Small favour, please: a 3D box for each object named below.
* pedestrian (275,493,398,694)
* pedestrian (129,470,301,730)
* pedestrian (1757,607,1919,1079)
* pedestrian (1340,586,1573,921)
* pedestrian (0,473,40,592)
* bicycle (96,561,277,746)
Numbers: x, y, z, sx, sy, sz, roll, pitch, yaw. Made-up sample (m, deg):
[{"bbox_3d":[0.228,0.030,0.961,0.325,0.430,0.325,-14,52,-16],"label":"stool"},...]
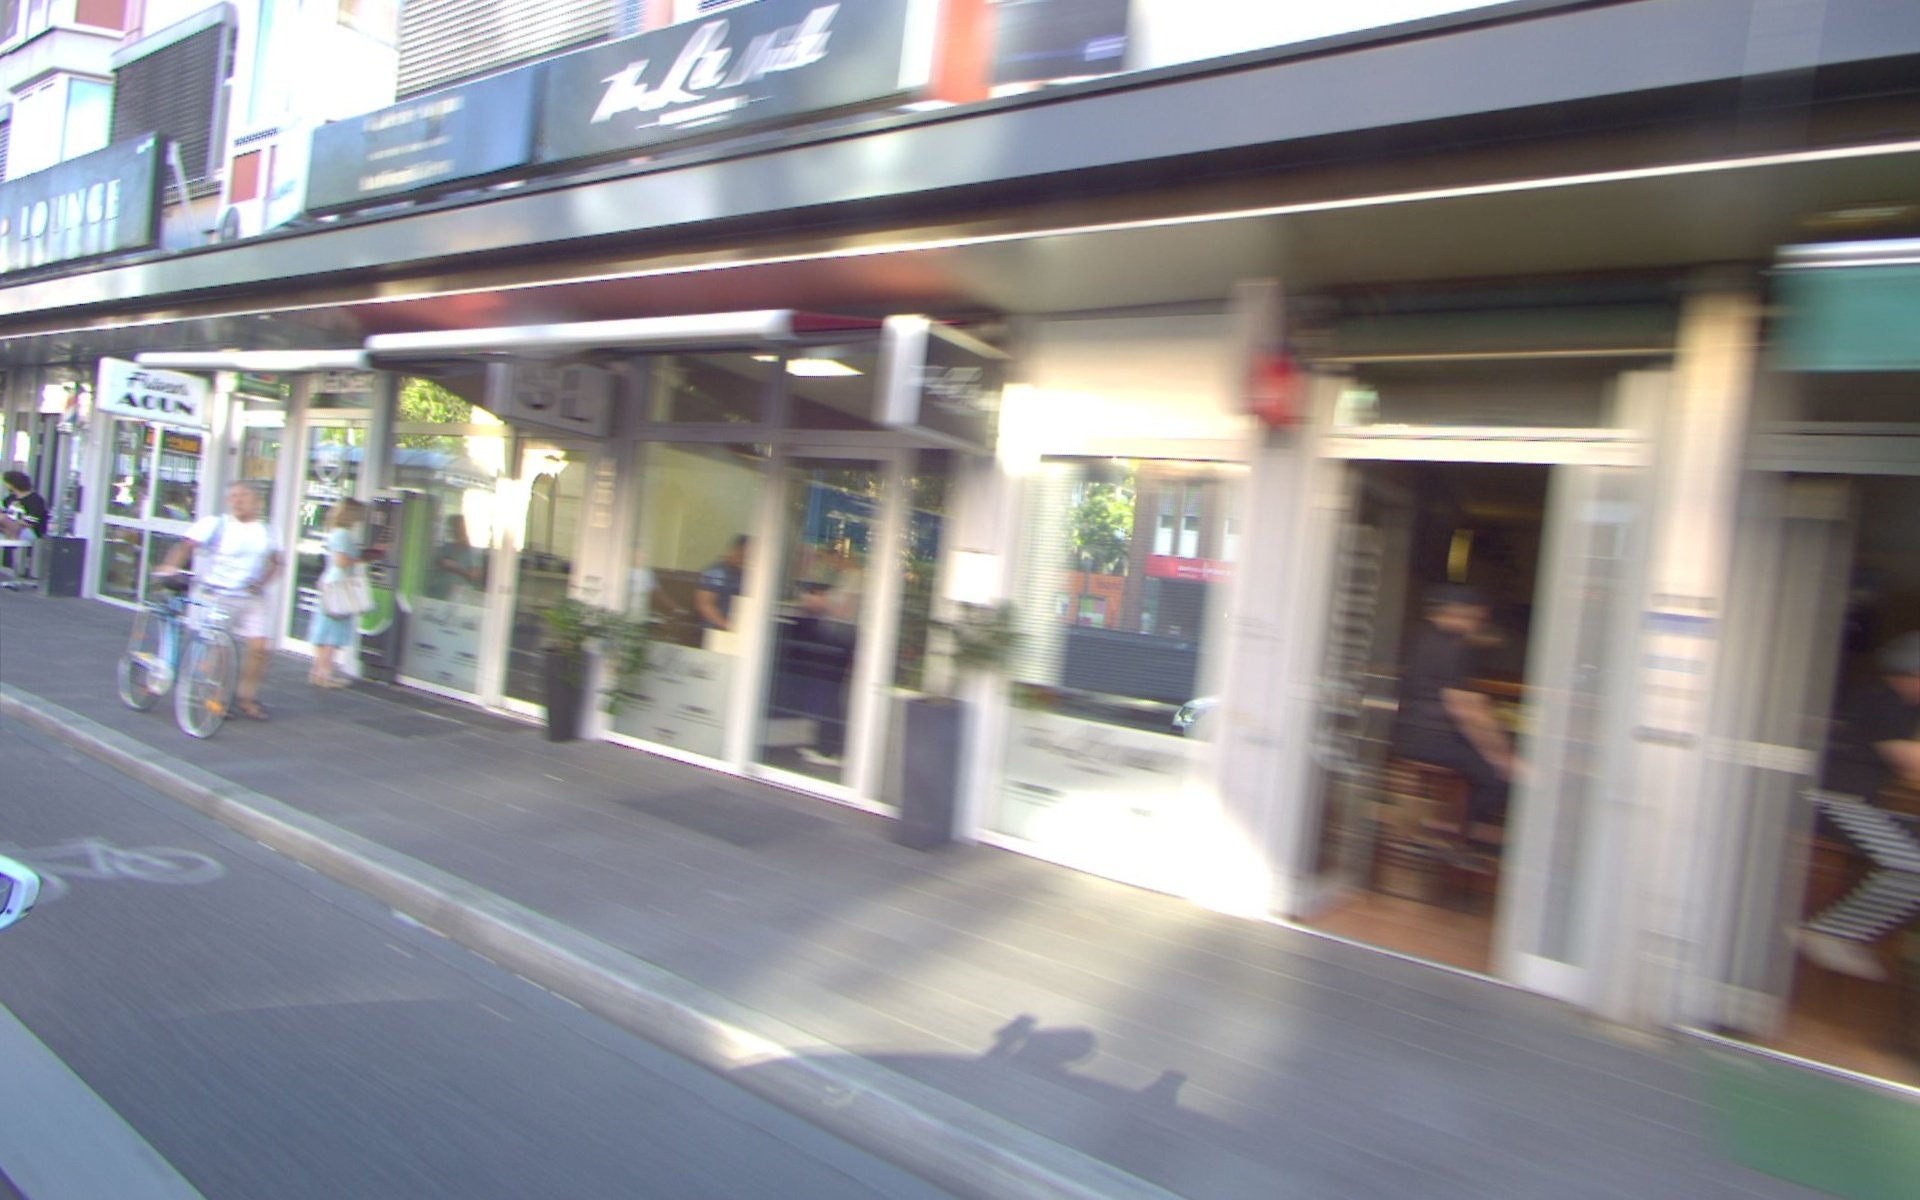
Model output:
[{"bbox_3d":[-5.298,-0.047,8.559,0.544,1.610,0.601,7,2,31],"label":"pedestrian"},{"bbox_3d":[-5.120,-0.008,6.919,0.693,1.652,0.663,7,3,31],"label":"pedestrian"},{"bbox_3d":[3.673,0.921,3.991,0.544,1.704,0.579,7,1,30],"label":"pedestrian"},{"bbox_3d":[2.653,0.764,5.374,0.886,1.538,0.710,7,1,31],"label":"pedestrian"},{"bbox_3d":[-12.438,-0.896,12.910,0.695,1.492,0.738,7,3,33],"label":"pedestrian"},{"bbox_3d":[-5.239,0.321,6.771,1.731,1.003,0.302,7,2,31],"label":"bicycle"}]
